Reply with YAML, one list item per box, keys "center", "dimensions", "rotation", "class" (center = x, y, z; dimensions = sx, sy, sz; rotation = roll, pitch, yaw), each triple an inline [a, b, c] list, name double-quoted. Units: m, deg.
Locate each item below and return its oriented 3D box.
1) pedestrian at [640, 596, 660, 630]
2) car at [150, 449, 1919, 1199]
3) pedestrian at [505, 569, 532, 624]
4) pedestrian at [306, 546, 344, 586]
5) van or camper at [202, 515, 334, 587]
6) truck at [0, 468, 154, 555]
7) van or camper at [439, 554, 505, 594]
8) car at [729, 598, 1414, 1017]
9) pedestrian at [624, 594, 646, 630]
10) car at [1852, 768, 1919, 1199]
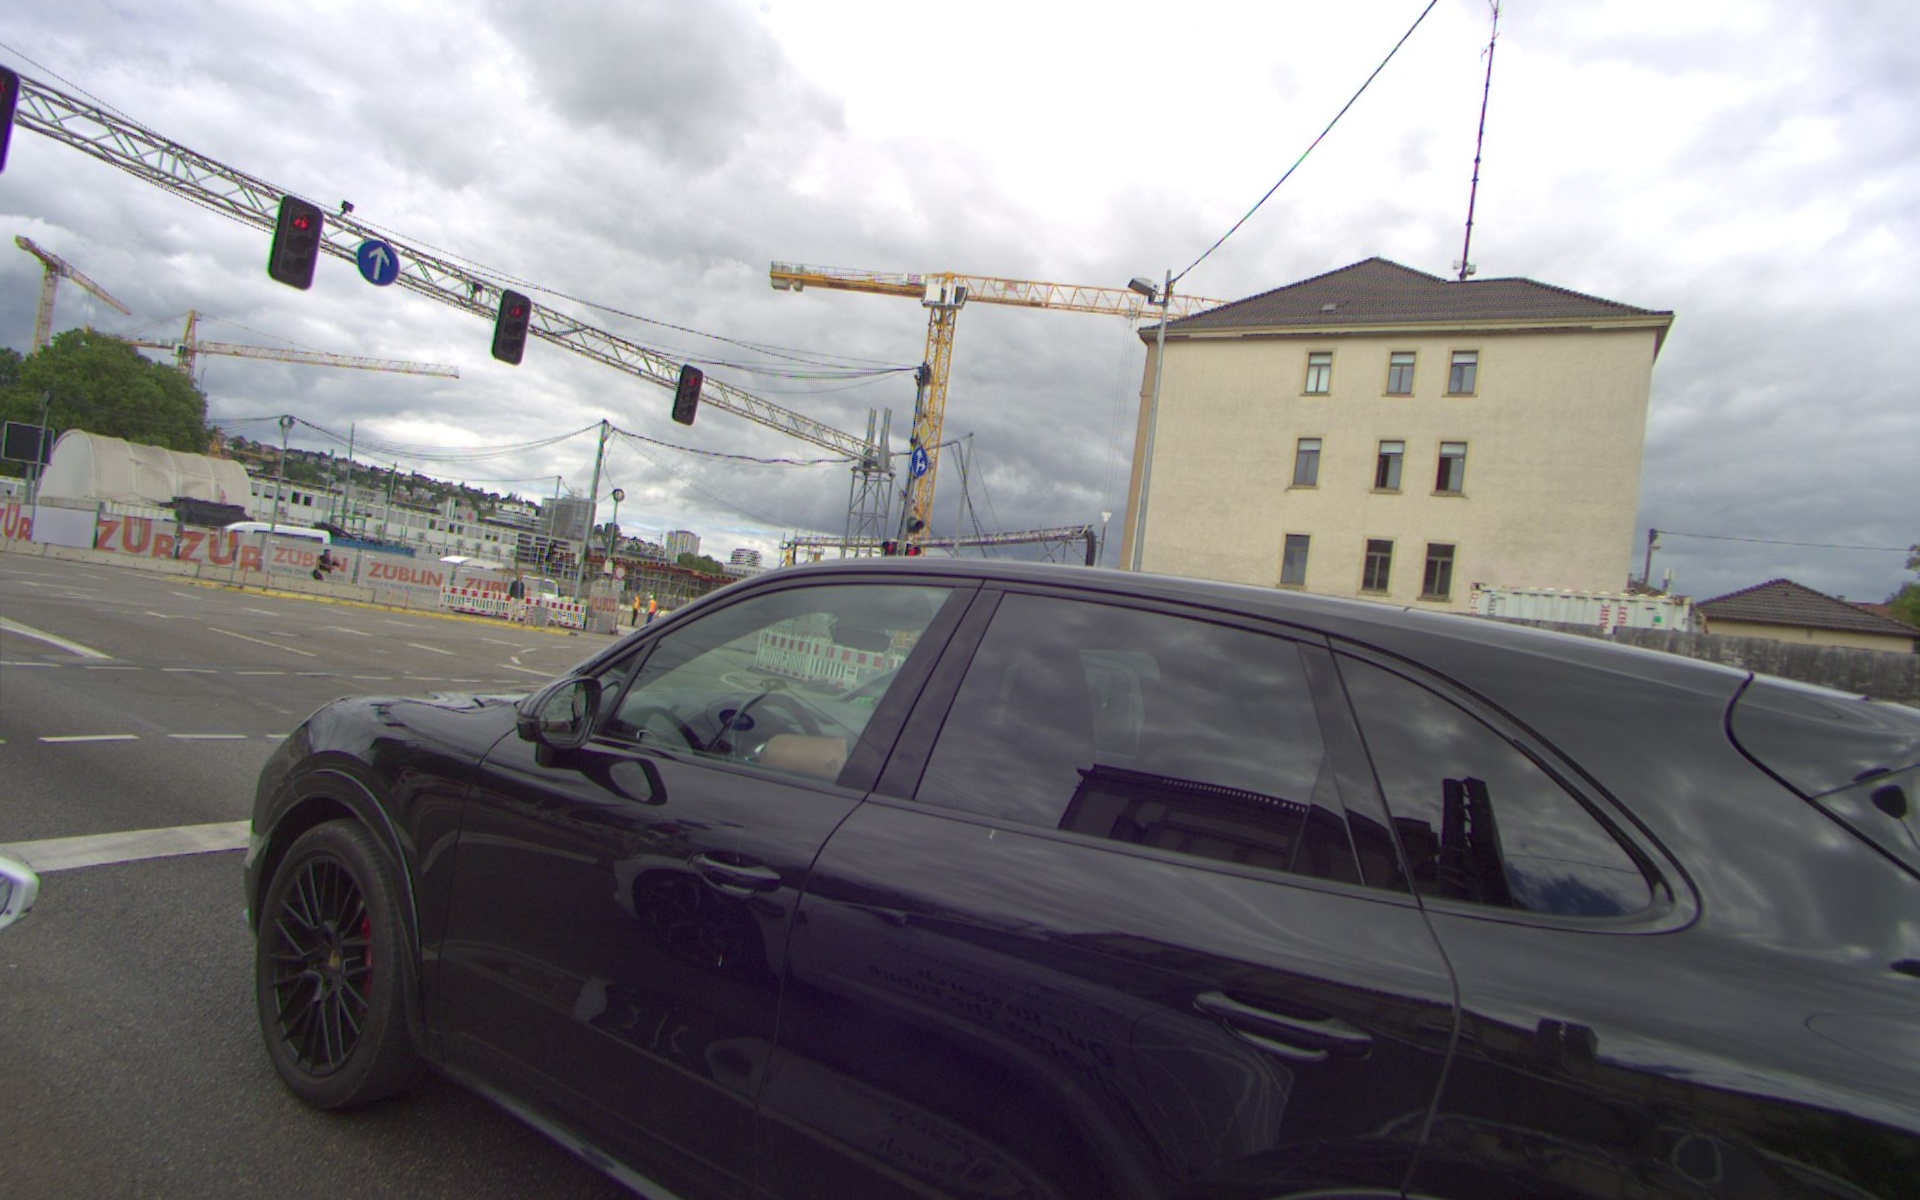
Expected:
- center: [-16.623, 0.717, 54.018]
  dimensions: [0.508, 1.737, 0.654]
  rotation: [7, -1, 21]
  class: "pedestrian"
- center: [0.038, 0.716, 2.689]
  dimensions: [4.559, 1.705, 1.959]
  rotation: [7, -2, 33]
  class: "car"
- center: [-17.130, -0.123, 39.043]
  dimensions: [0.647, 2.037, 0.513]
  rotation: [8, -1, -33]
  class: "pedestrian"
- center: [-24.562, -1.297, 38.917]
  dimensions: [0.891, 1.393, 0.797]
  rotation: [8, -1, -15]
  class: "pedestrian"
- center: [-29.808, -2.074, 43.405]
  dimensions: [4.204, 2.384, 1.976]
  rotation: [10, -3, -44]
  class: "van or camper"
- center: [-57.895, -5.797, 61.924]
  dimensions: [3.875, 4.086, 13.089]
  rotation: [8, -2, 12]
  class: "truck"
- center: [-44.922, -2.325, 92.757]
  dimensions: [1.963, 2.945, 5.304]
  rotation: [7, -2, 20]
  class: "van or camper"
- center: [0.595, 1.044, 6.365]
  dimensions: [3.818, 1.561, 1.667]
  rotation: [7, -2, 33]
  class: "car"
- center: [-17.563, 0.666, 54.381]
  dimensions: [0.607, 1.816, 0.654]
  rotation: [7, -1, 21]
  class: "pedestrian"
- center: [5.673, 1.686, 2.679]
  dimensions: [4.579, 1.589, 1.825]
  rotation: [6, -2, 34]
  class: "car"
